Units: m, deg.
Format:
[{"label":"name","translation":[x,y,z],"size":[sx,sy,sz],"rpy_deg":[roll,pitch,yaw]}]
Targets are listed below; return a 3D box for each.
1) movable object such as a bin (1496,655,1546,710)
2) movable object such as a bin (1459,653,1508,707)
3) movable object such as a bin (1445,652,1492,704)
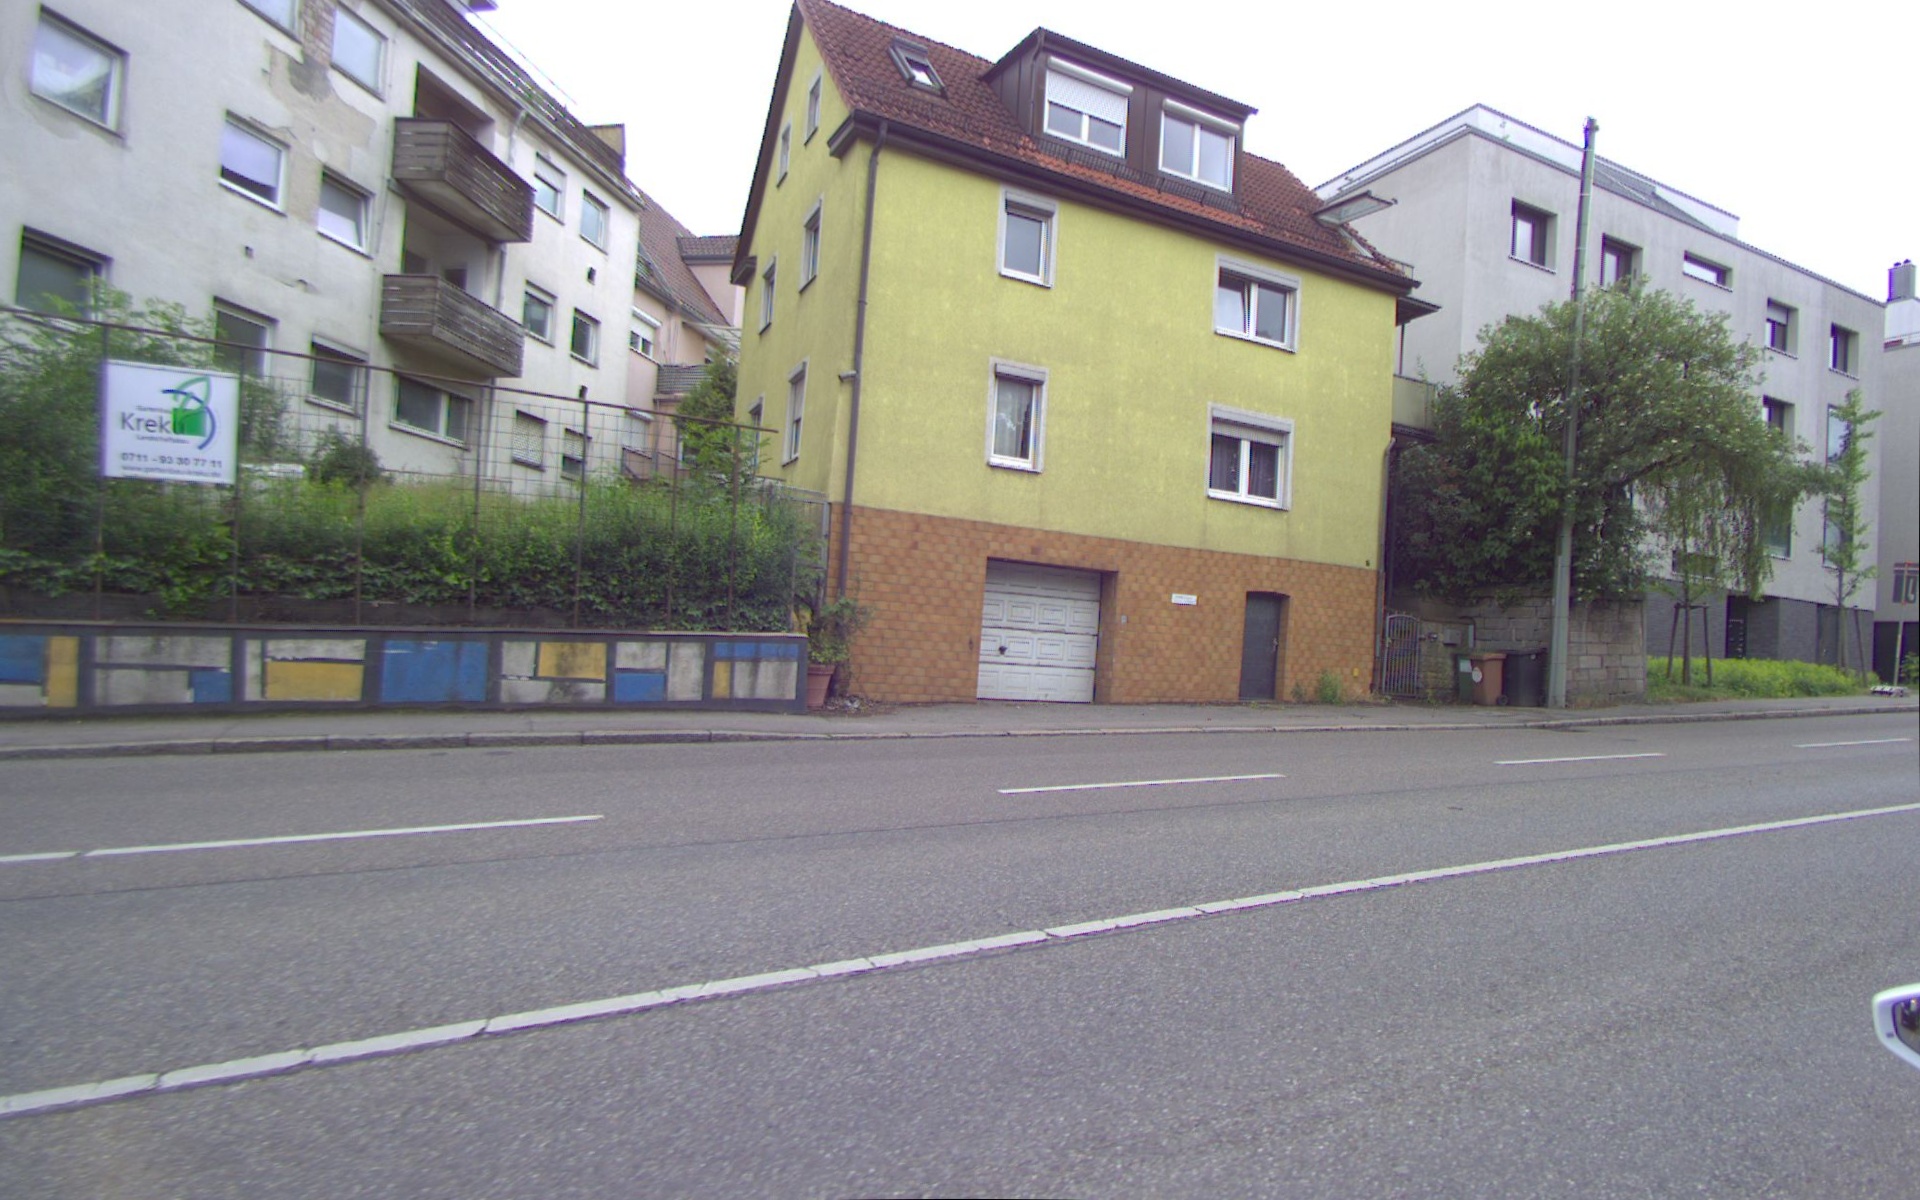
[{"label":"movable object such as a bin","translation":[9.930,1.451,17.791],"size":[0.605,0.897,0.562],"rpy_deg":[1,2,-42]},{"label":"movable object such as a bin","translation":[9.483,1.431,18.184],"size":[0.605,0.897,0.562],"rpy_deg":[1,2,-42]},{"label":"movable object such as a bin","translation":[9.603,1.467,18.978],"size":[0.605,0.897,0.562],"rpy_deg":[1,2,-42]}]
